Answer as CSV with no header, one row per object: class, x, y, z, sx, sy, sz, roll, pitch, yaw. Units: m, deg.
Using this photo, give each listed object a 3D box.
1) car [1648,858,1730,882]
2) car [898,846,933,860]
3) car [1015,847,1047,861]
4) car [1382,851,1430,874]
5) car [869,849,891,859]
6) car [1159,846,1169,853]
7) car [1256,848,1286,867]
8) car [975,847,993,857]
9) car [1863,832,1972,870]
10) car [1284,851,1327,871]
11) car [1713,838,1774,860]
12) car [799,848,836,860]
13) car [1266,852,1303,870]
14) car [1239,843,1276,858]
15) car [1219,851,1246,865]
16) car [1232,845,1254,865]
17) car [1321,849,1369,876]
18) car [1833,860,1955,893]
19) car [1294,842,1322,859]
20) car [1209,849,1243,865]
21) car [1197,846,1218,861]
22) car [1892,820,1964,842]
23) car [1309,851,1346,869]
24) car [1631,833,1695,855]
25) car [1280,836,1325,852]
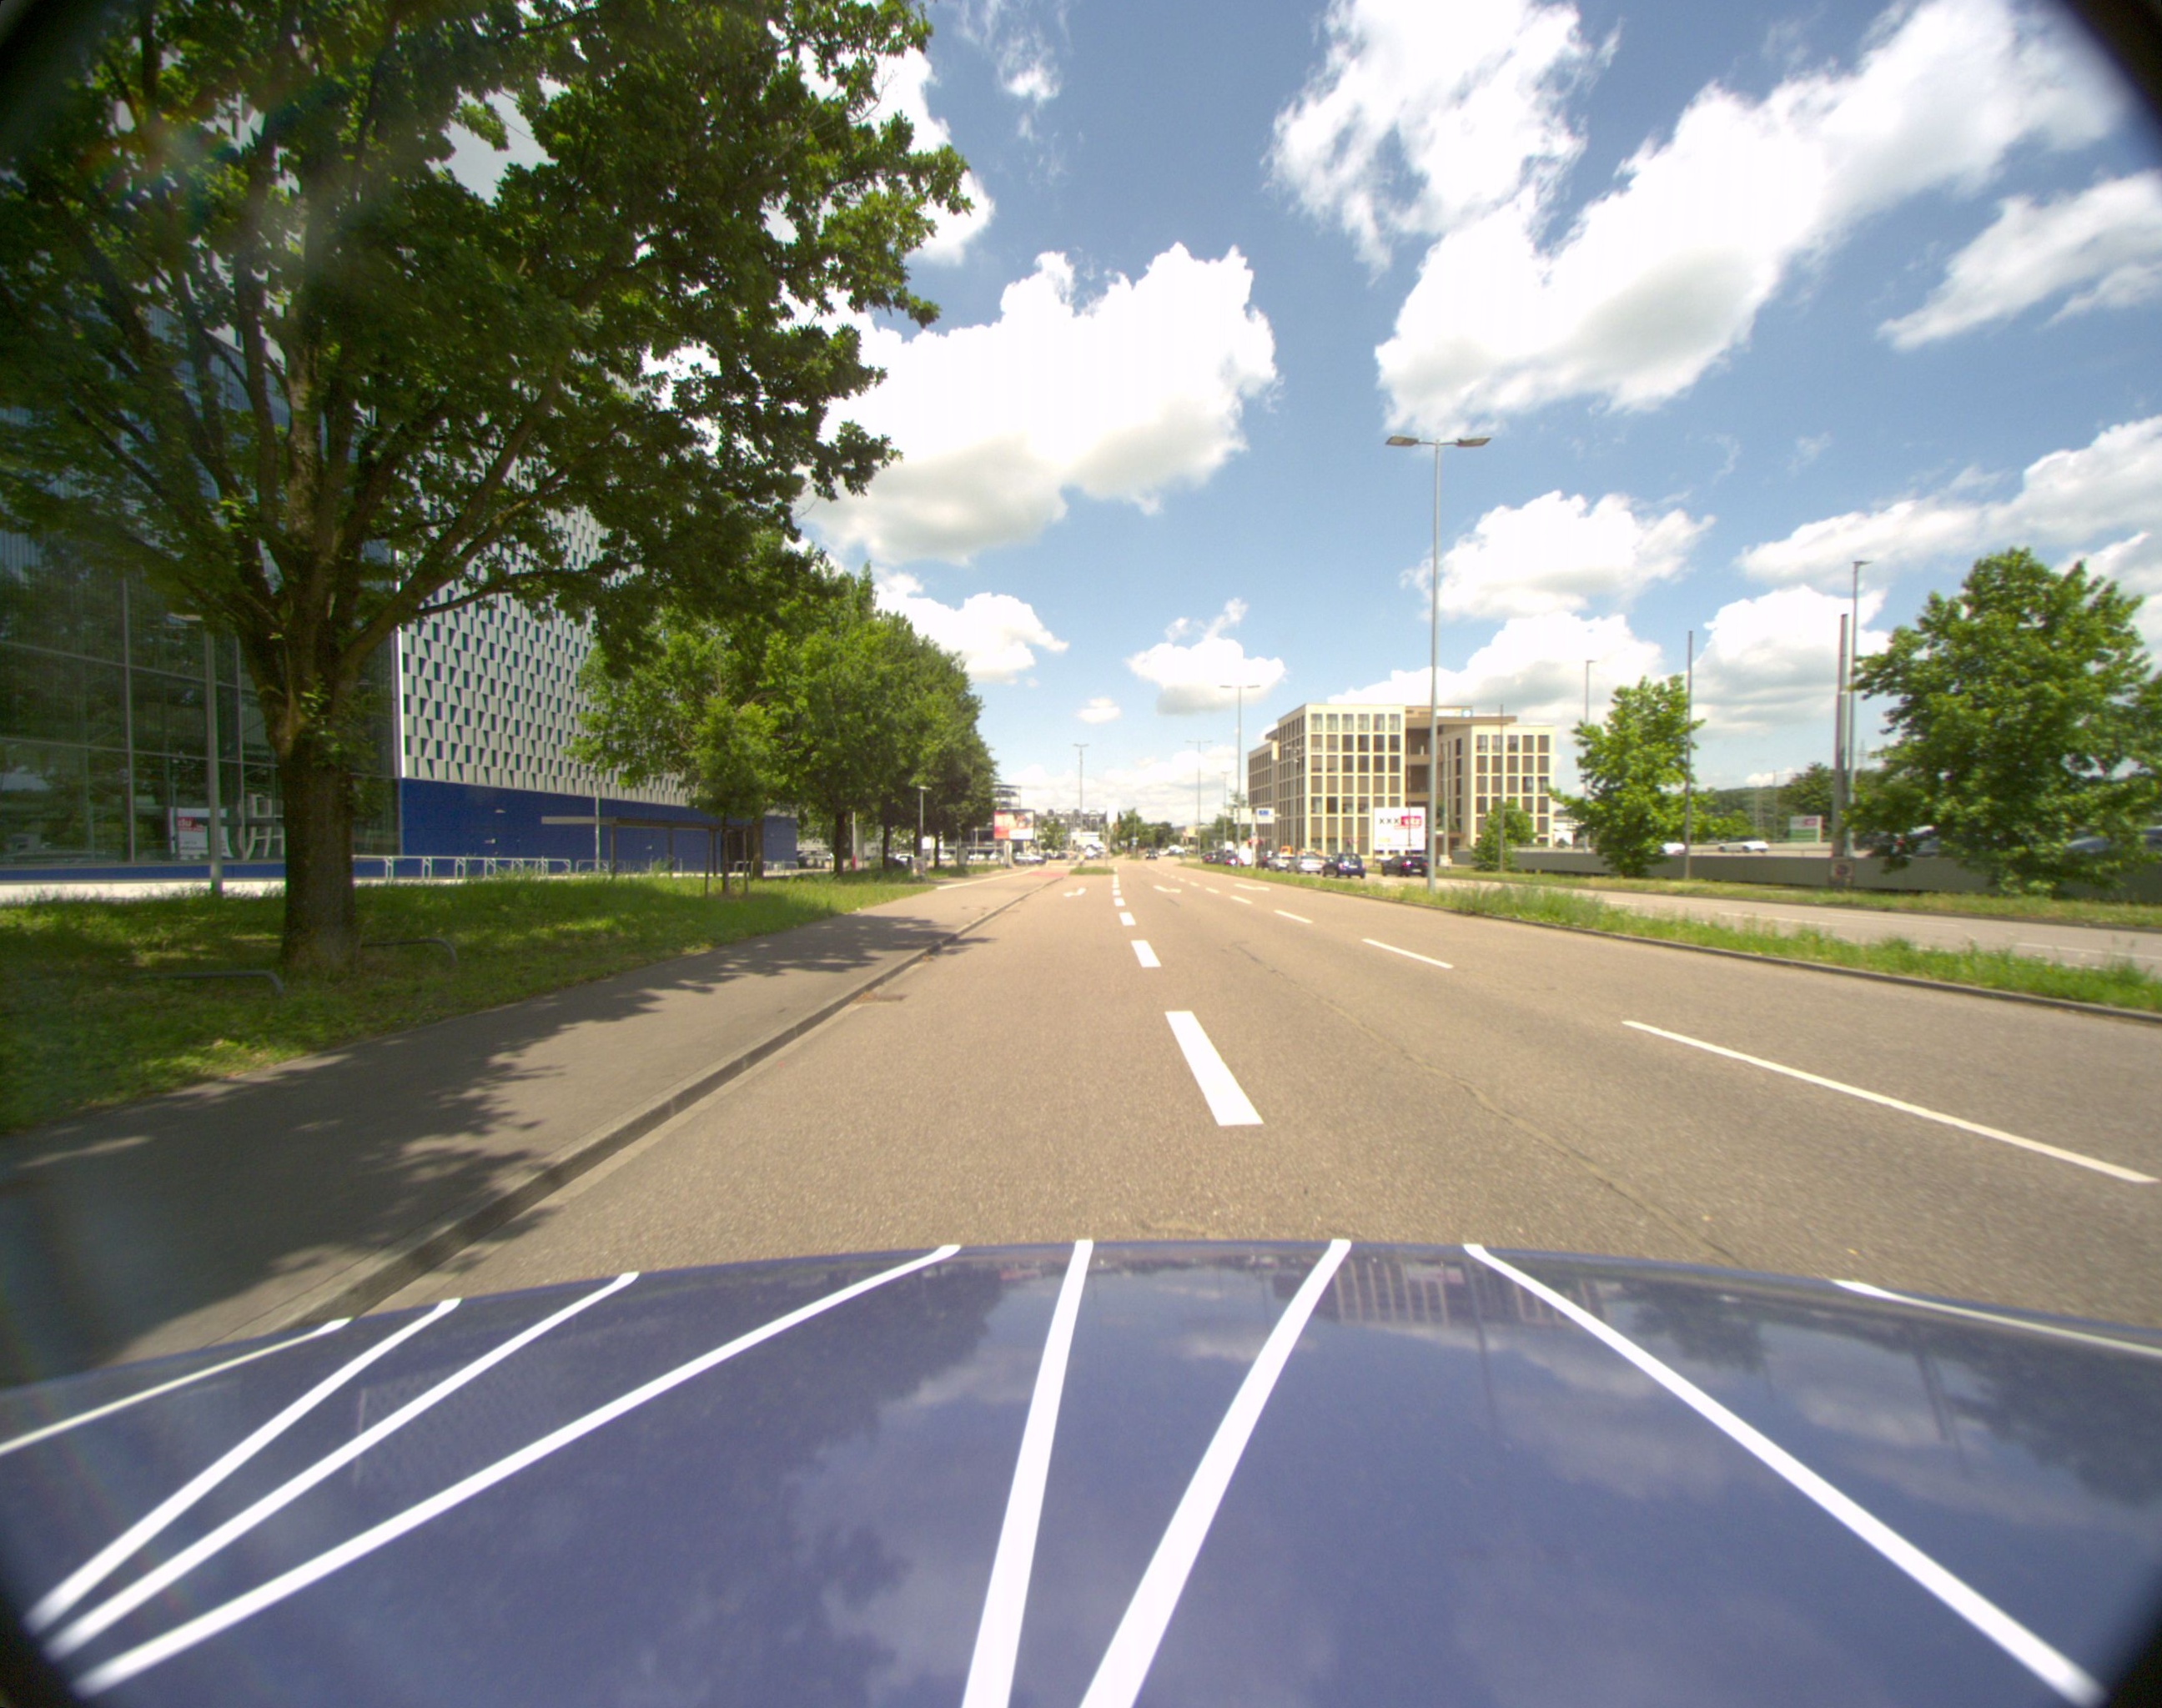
car,41.525,1.091,51.967,3.996,1.586,1.919,0,0,3
car,-20.746,-0.084,95.240,3.998,1.681,1.858,0,0,-3
car,-6.205,0.015,94.506,3.998,1.681,1.858,0,0,-3
car,21.154,0.533,49.588,1.622,1.461,4.118,0,0,5
car,-31.775,-0.039,120.416,1.794,1.543,4.004,0,0,11
car,21.816,-1.105,200.419,2.289,1.708,4.483,0,1,4
car,16.902,0.321,67.842,1.796,1.691,4.228,0,0,2
car,-15.415,-0.279,121.082,1.840,1.565,4.002,0,0,7
car,51.312,-0.195,46.680,4.359,2.315,2.000,0,1,2
car,16.011,0.479,54.394,1.796,1.409,4.675,1,0,2
car,57.540,-0.425,66.086,1.855,1.822,3.832,0,0,-3
car,-37.902,0.005,109.439,4.699,1.622,1.999,0,0,-5
car,16.298,0.546,61.130,1.796,1.394,4.846,1,0,2
car,22.159,-0.420,95.558,4.189,1.719,1.862,-1,3,-1
car,13.828,0.368,69.727,1.796,1.243,4.308,0,0,2
car,17.373,0.095,81.616,1.861,2.031,3.577,0,0,4
car,15.534,0.461,44.818,1.743,1.466,3.676,0,1,4
car,40.485,1.110,37.923,3.996,1.586,1.850,0,0,3
car,23.352,-0.294,78.239,1.796,1.691,3.871,0,0,2
car,14.599,0.302,76.621,1.799,1.551,3.764,0,0,-17
car,13.624,-0.054,81.847,1.795,1.635,4.172,0,0,4
car,72.506,-1.942,65.152,1.855,1.822,3.833,0,0,-1
car,21.020,0.507,65.012,1.623,1.464,4.358,0,0,-2
car,50.016,-0.796,65.434,1.855,1.822,4.673,0,0,0
car,35.021,-1.603,120.149,6.525,2.314,2.856,0,-2,9
